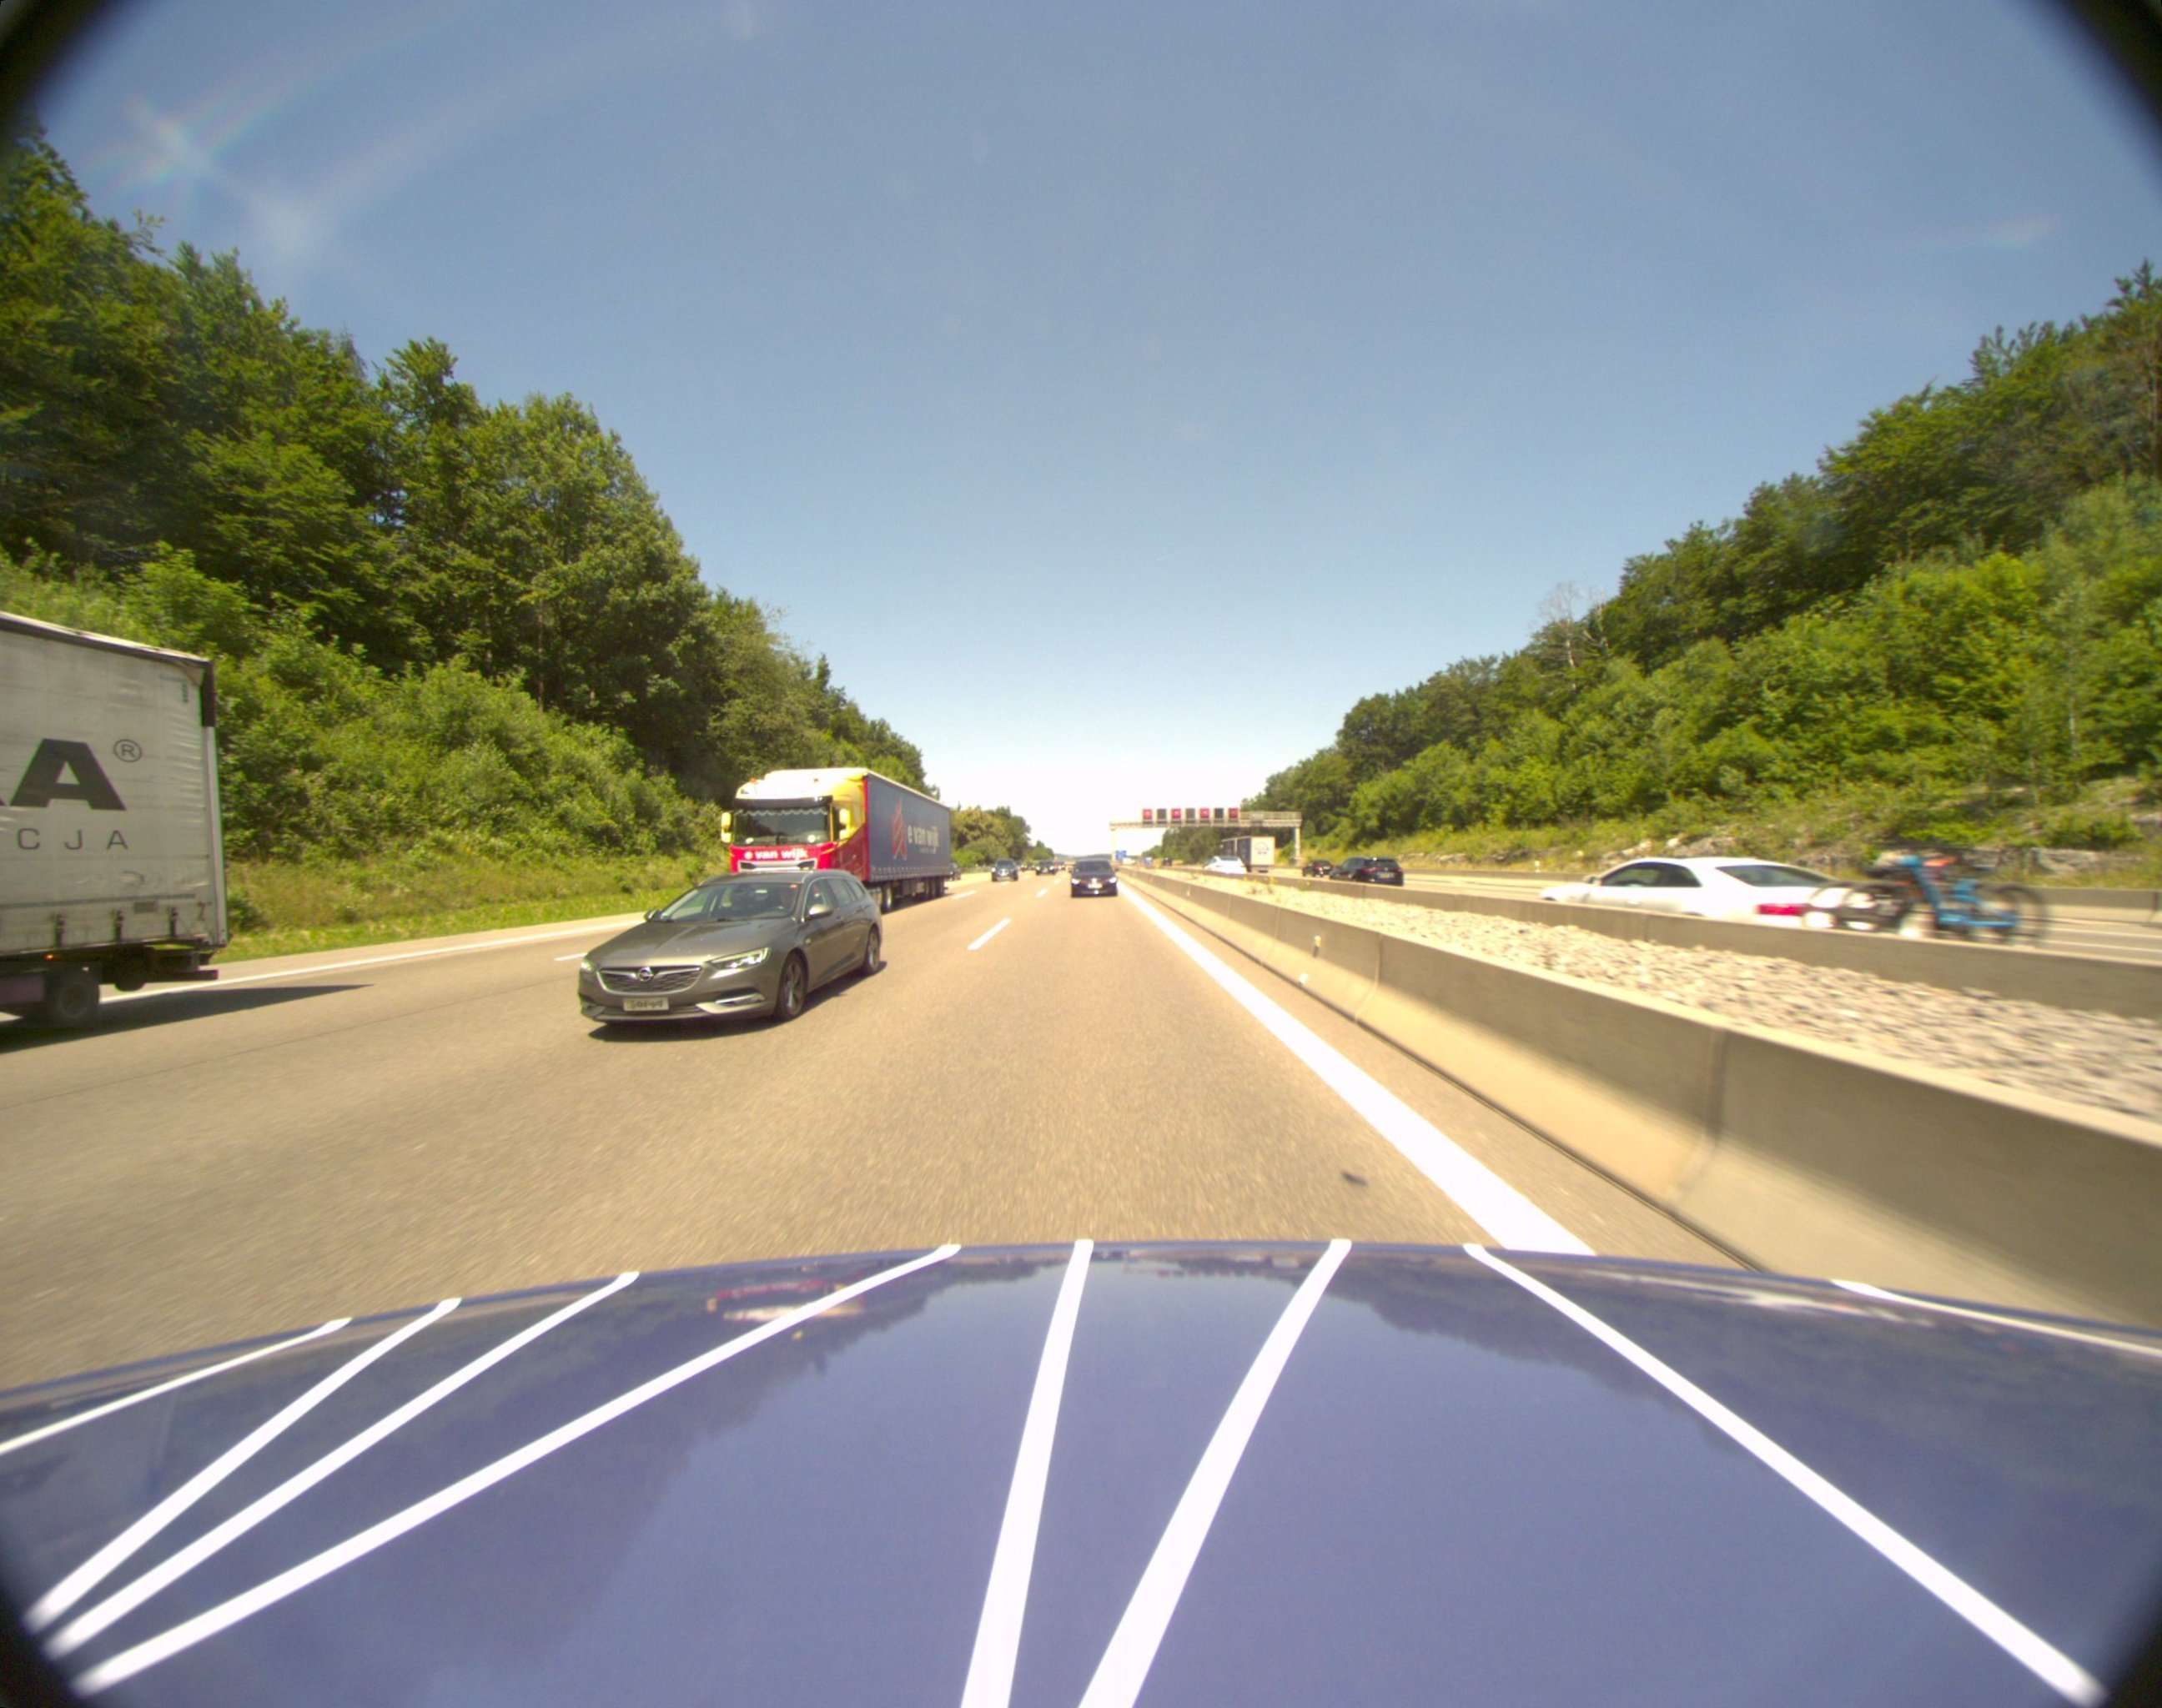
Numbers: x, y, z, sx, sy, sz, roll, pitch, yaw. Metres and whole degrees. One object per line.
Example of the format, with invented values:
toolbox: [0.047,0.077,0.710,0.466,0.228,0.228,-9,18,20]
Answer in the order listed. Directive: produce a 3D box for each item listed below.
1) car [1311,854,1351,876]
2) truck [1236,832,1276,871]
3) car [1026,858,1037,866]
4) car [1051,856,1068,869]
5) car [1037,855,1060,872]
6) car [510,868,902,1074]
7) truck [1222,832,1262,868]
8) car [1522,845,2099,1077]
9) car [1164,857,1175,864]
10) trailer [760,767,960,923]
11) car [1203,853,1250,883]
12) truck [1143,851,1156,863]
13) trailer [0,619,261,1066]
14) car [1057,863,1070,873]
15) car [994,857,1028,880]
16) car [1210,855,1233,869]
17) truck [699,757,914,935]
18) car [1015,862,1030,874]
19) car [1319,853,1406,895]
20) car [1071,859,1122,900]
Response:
car: [19.573,0.844,59.665,1.910,1.644,4.160,-1,0,2]
truck: [19.633,-0.268,85.737,2.666,4.204,8.413,-1,0,1]
car: [-10.001,1.633,152.840,1.910,1.504,4.159,-1,0,0]
car: [-2.773,1.047,97.498,1.910,1.504,4.159,-2,1,2]
car: [-3.240,0.941,75.810,1.910,1.504,4.159,-2,1,2]
car: [-3.749,1.035,8.974,1.972,1.444,5.222,-2,1,0]
truck: [19.678,-0.483,93.383,2.919,4.204,9.862,-1,0,1]
car: [8.048,0.925,9.452,1.998,2.040,5.402,-1,1,0]
car: [16.578,1.191,142.427,1.743,1.374,3.871,-1,0,1]
trailer: [-7.070,-0.276,27.654,2.927,4.119,14.846,-1,0,0]
car: [8.138,0.743,42.749,1.910,1.504,4.159,-2,1,2]
truck: [21.316,1.000,237.752,3.383,3.739,8.585,-1,0,1]
trailer: [-11.092,-0.044,4.730,2.585,4.046,8.382,-2,1,1]
car: [-2.591,2.000,112.230,1.715,1.308,3.490,-2,1,1]
car: [-5.086,1.020,55.754,1.910,1.504,4.159,-2,1,2]
car: [14.659,0.817,79.666,1.743,1.374,3.871,-1,0,1]
truck: [-7.049,-0.188,20.967,3.018,3.958,7.539,-2,0,0]
car: [-8.582,2.033,111.112,1.910,1.504,4.159,-1,0,0]
car: [11.596,0.755,31.663,1.910,1.504,4.907,-2,1,2]
car: [0.595,0.940,29.814,1.778,1.425,4.144,-2,0,1]
